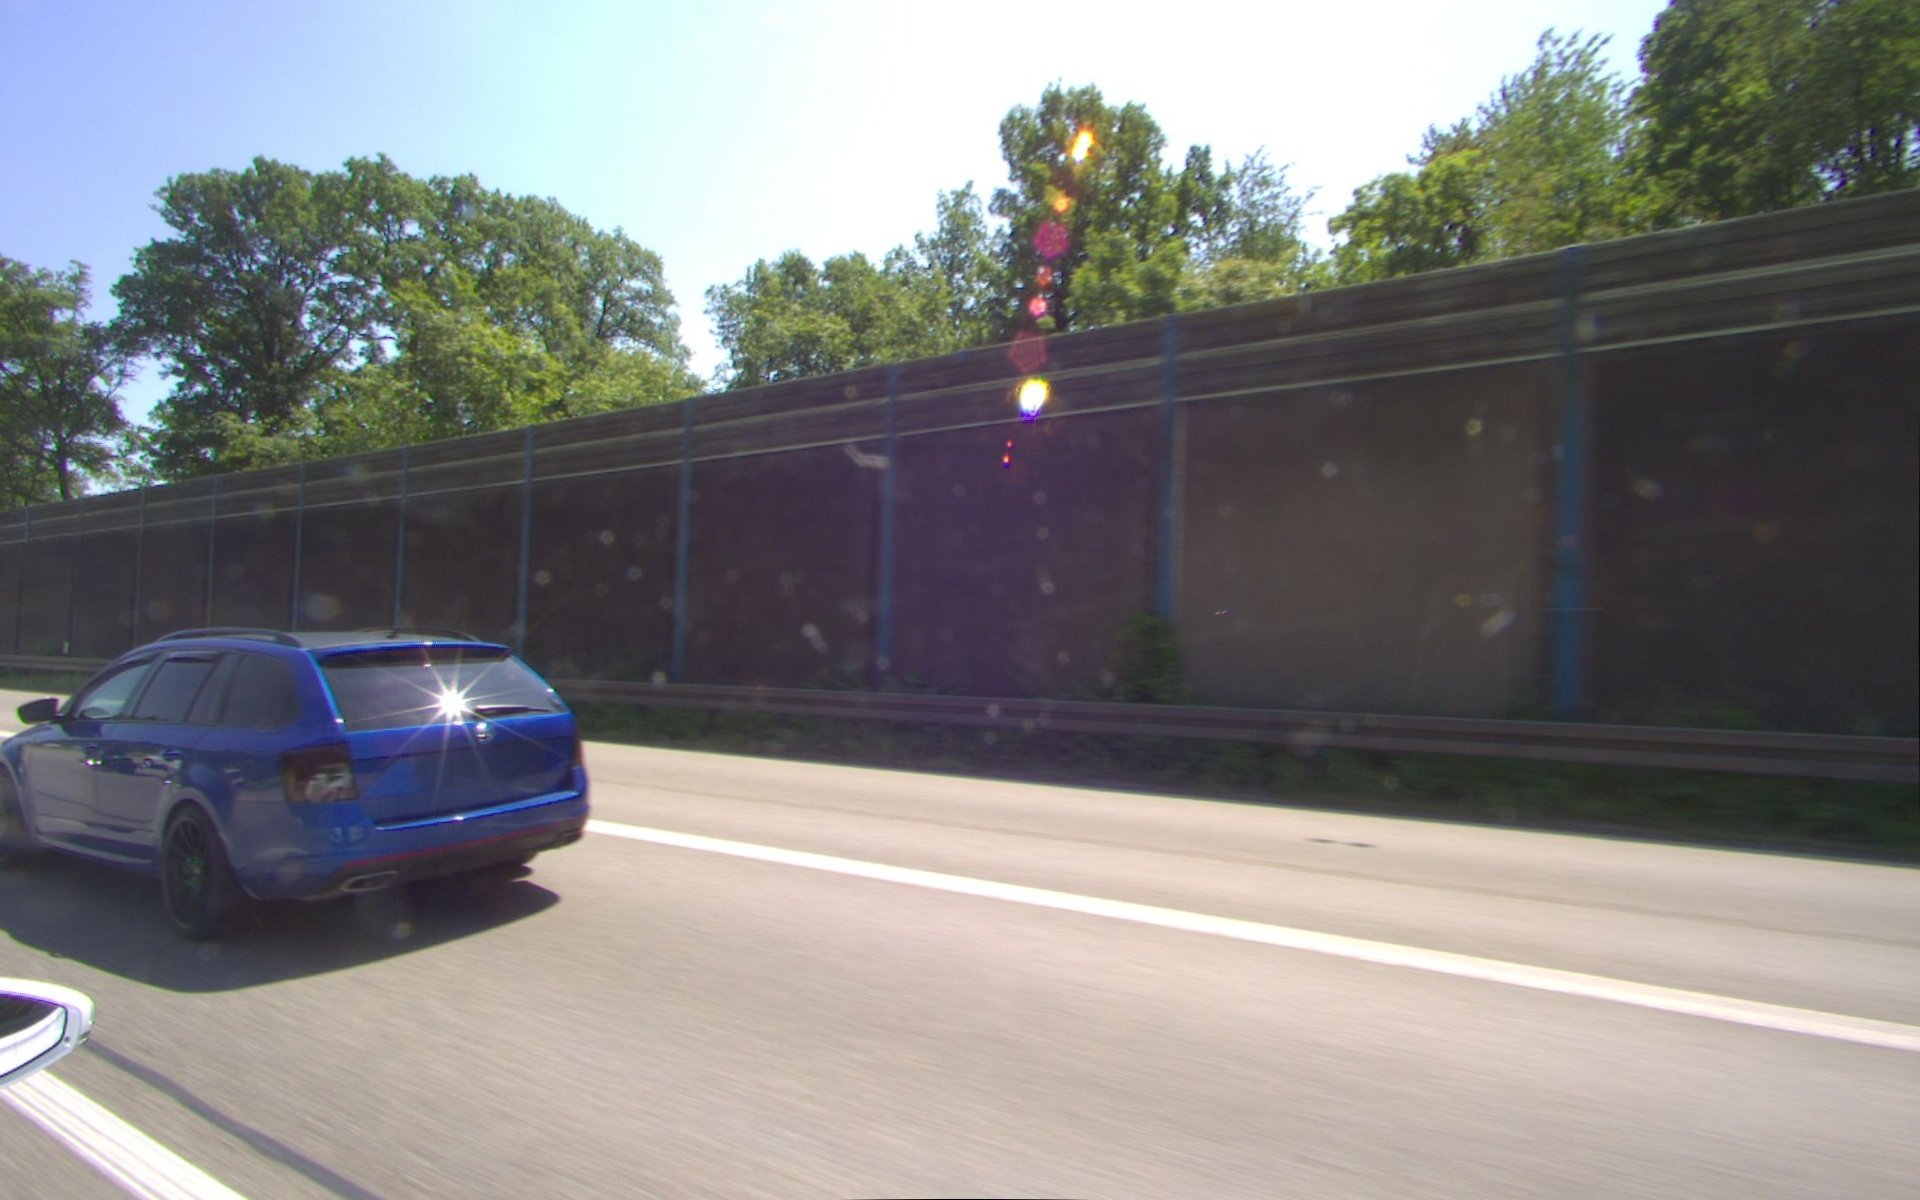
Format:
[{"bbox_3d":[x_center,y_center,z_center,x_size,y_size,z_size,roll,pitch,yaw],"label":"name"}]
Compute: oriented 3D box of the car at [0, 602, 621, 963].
[{"bbox_3d":[-4.201,0.852,6.046,4.417,1.501,1.648,-2,-2,32],"label":"car"}]
